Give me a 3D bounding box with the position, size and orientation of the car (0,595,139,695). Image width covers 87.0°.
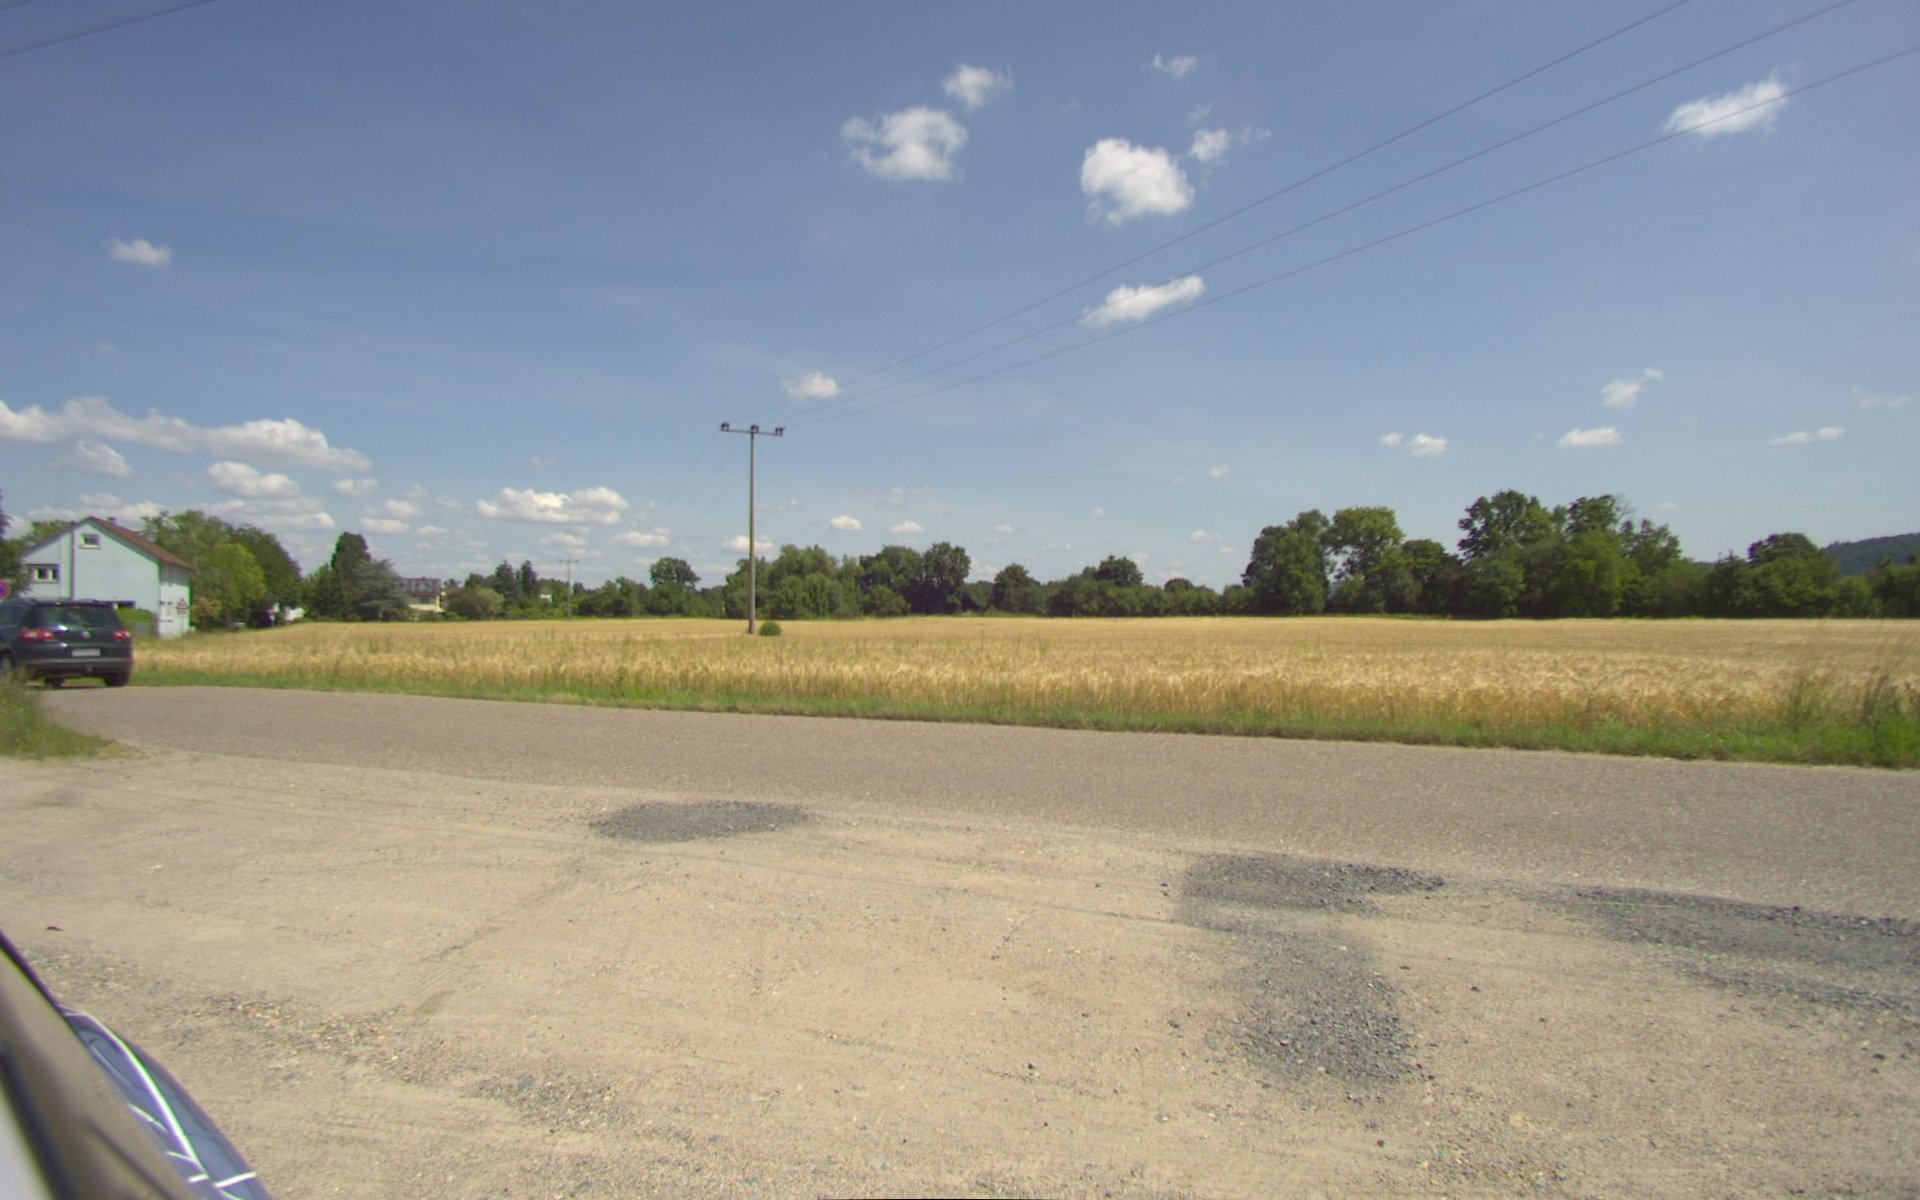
[{"bbox_3d":[-17.467,0.782,18.874,4.231,1.692,1.734,-1,0,26],"label":"car"}]
